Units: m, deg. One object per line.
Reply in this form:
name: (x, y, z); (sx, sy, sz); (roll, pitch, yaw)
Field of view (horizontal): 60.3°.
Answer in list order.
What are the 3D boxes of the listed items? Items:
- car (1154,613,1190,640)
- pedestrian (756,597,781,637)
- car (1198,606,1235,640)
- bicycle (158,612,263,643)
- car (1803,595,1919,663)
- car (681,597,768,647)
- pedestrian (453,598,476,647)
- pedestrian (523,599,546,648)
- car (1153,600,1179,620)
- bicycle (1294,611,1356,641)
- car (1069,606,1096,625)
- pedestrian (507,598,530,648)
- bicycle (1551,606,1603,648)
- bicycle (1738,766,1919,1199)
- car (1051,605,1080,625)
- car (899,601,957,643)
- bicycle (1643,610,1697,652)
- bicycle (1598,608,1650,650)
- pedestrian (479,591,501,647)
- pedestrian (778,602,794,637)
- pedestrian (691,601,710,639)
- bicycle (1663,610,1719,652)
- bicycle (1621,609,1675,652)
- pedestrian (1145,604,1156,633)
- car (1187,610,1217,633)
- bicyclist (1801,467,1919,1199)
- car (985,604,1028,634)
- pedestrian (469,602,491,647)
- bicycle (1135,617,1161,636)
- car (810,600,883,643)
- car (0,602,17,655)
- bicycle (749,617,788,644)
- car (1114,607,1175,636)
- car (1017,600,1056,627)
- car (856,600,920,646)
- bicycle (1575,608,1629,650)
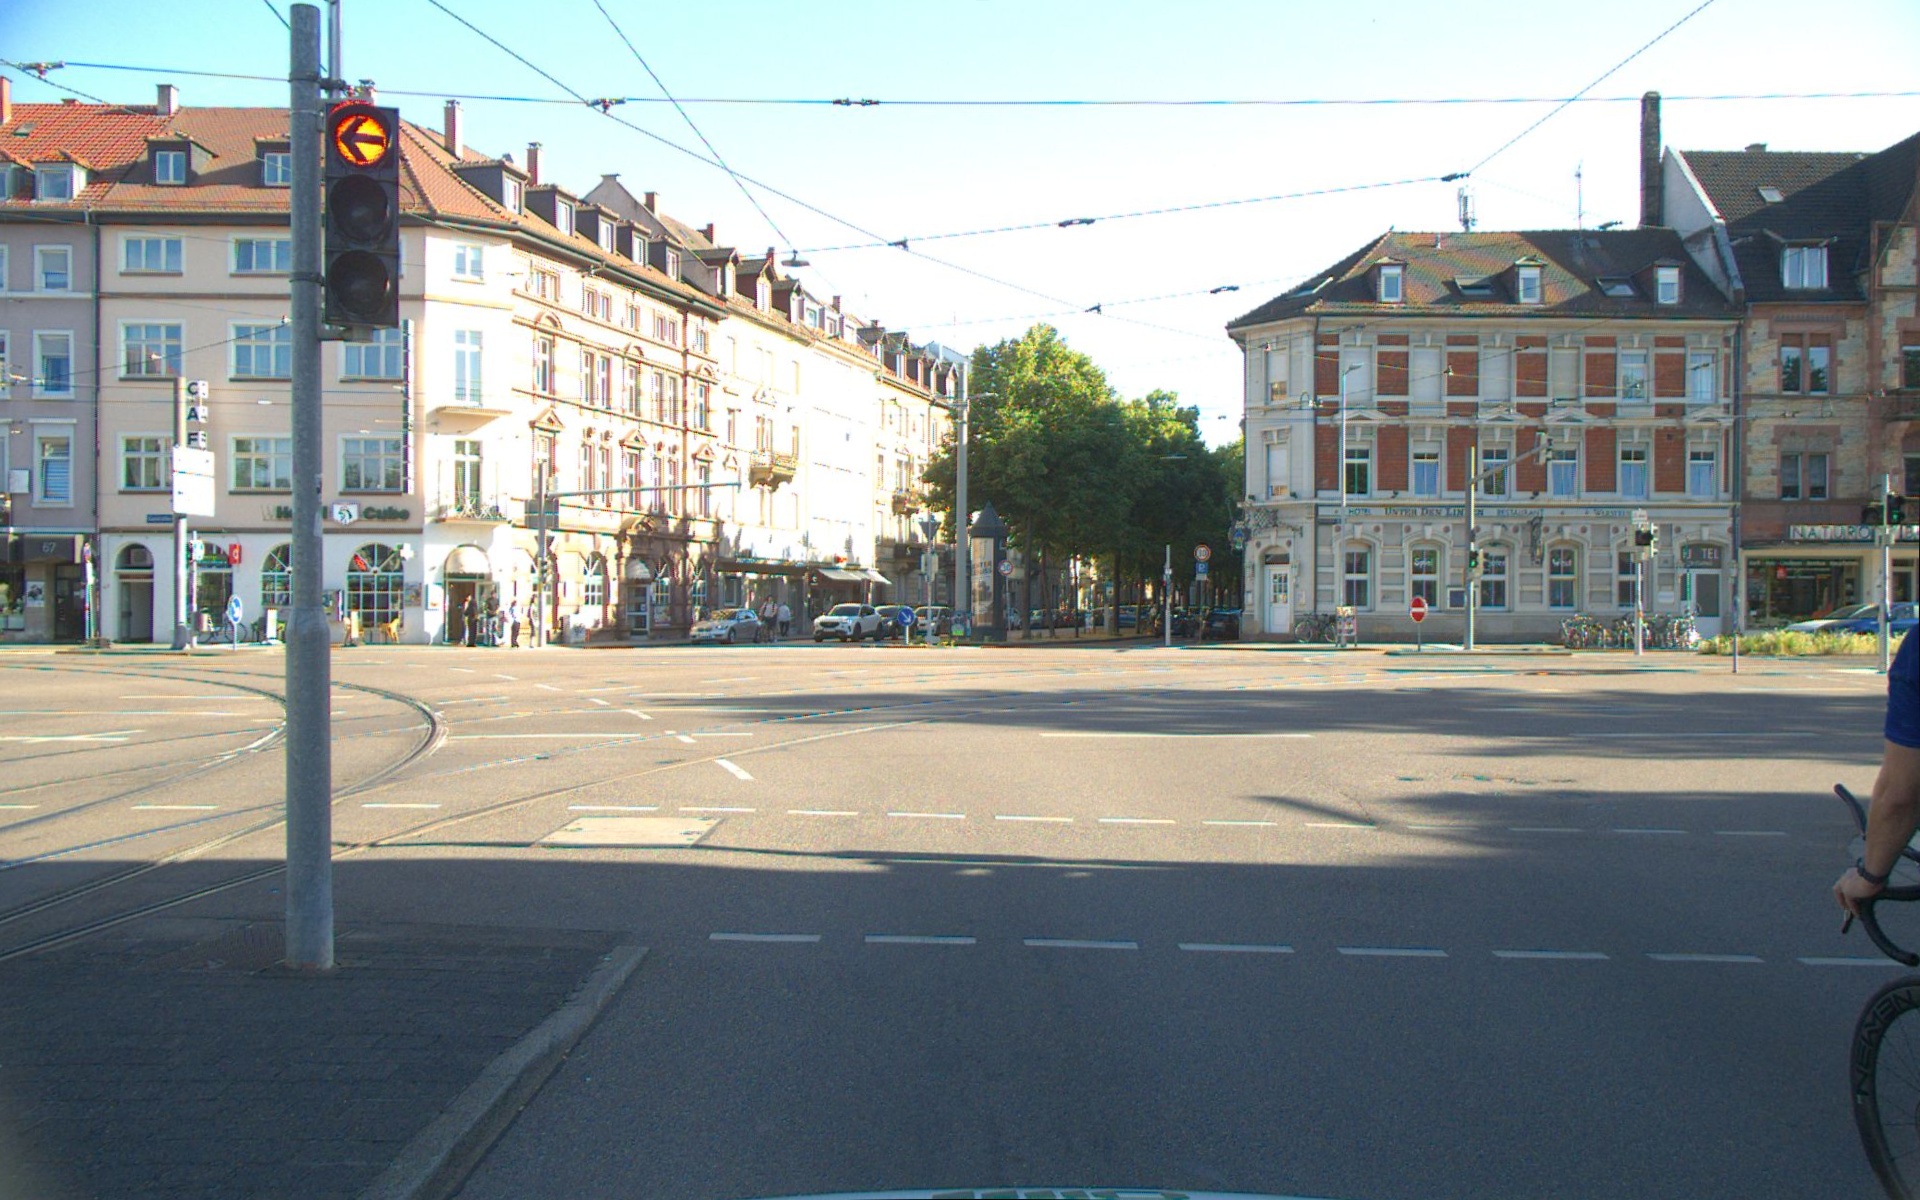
car: (11.419, 1.428, 89.029); (1.716, 1.386, 3.859); (1, 0, 10)
pedestrian: (-7.540, 0.665, 65.085); (0.803, 1.539, 0.598); (1, -1, 14)
car: (12.870, 1.135, 82.773); (1.655, 1.592, 3.844); (1, 0, 11)
bicycle: (-25.515, 0.940, 56.349); (3.066, 0.997, 1.001); (1, 0, -1)
car: (25.832, 0.803, 46.044); (3.706, 1.809, 1.999); (1, 0, -2)
car: (-9.490, 0.875, 66.918); (1.951, 1.937, 4.002); (1, 0, 17)
pedestrian: (-16.880, 0.763, 56.325); (0.620, 1.640, 0.465); (1, -1, -5)
pedestrian: (-14.647, 0.801, 57.004); (0.620, 1.662, 0.700); (1, -1, -4)
car: (16.833, 0.832, 134.988); (1.526, 1.540, 3.658); (1, 0, 16)
bicycle: (12.627, 0.888, 57.260); (2.006, 1.015, 0.631); (0, 0, 2)
car: (10.109, 1.263, 136.151); (1.526, 1.540, 3.658); (1, 0, 16)
pedestrian: (-14.859, 0.780, 55.669); (0.620, 1.662, 0.700); (1, -1, -4)
bicycle: (19.790, 0.839, 53.133); (0.678, 1.309, 2.661); (1, 0, 0)
bicycle: (2.177, 0.958, 3.168); (0.613, 1.104, 1.703); (1, 0, 2)
car: (8.473, 1.227, 132.107); (1.526, 1.540, 3.658); (1, 0, 16)
car: (-1.523, 1.066, 79.705); (1.951, 1.937, 4.003); (1, 0, 11)
bicycle: (22.800, 0.973, 53.173); (0.615, 1.309, 2.661); (1, 0, 0)
bicycle: (21.308, 0.920, 53.146); (0.615, 1.309, 2.661); (1, 0, 0)
pedestrian: (-16.152, 0.651, 56.870); (0.620, 1.914, 0.465); (1, -1, -5)
pedestrian: (-8.455, 0.947, 80.373); (0.532, 1.660, 0.707); (1, -1, 13)
pedestrian: (-11.200, 0.862, 71.397); (0.532, 1.660, 0.707); (1, -1, 13)
bicycle: (23.484, 0.990, 53.171); (0.615, 1.309, 2.661); (1, 0, 0)
bicycle: (22.085, 0.966, 53.149); (0.615, 1.309, 2.661); (1, 0, 0)
pedestrian: (12.086, 1.180, 104.665); (0.626, 1.827, 0.491); (1, -1, 12)
car: (17.165, 1.520, 117.224); (1.734, 1.557, 4.003); (1, 0, 14)
bicyclist: (2.167, 0.506, 3.203); (0.625, 1.520, 0.884); (1, 1, 3)
car: (3.183, 1.285, 112.734); (1.951, 1.937, 4.002); (1, 0, 16)
pedestrian: (-16.227, 0.836, 55.915); (0.620, 1.502, 0.465); (1, -1, -5)
bicycle: (11.284, 1.569, 99.221); (0.619, 1.104, 1.685); (1, 0, -31)
car: (-4.568, 0.860, 67.142); (1.951, 1.646, 4.003); (1, 0, 11)
car: (-32.385, 0.912, 52.427); (3.902, 1.699, 2.002); (0, 0, 8)
bicycle: (-7.528, 1.204, 65.156); (0.746, 1.025, 2.398); (1, 0, 13)
car: (12.853, 1.461, 115.150); (3.902, 1.937, 2.001); (1, 0, 15)
car: (5.685, 1.017, 122.439); (1.951, 1.937, 4.002); (1, 0, 16)
car: (-3.173, 1.012, 73.589); (1.951, 1.937, 4.003); (1, 0, 11)
bicycle: (20.597, 0.911, 53.125); (0.678, 1.309, 2.661); (1, 0, 0)
